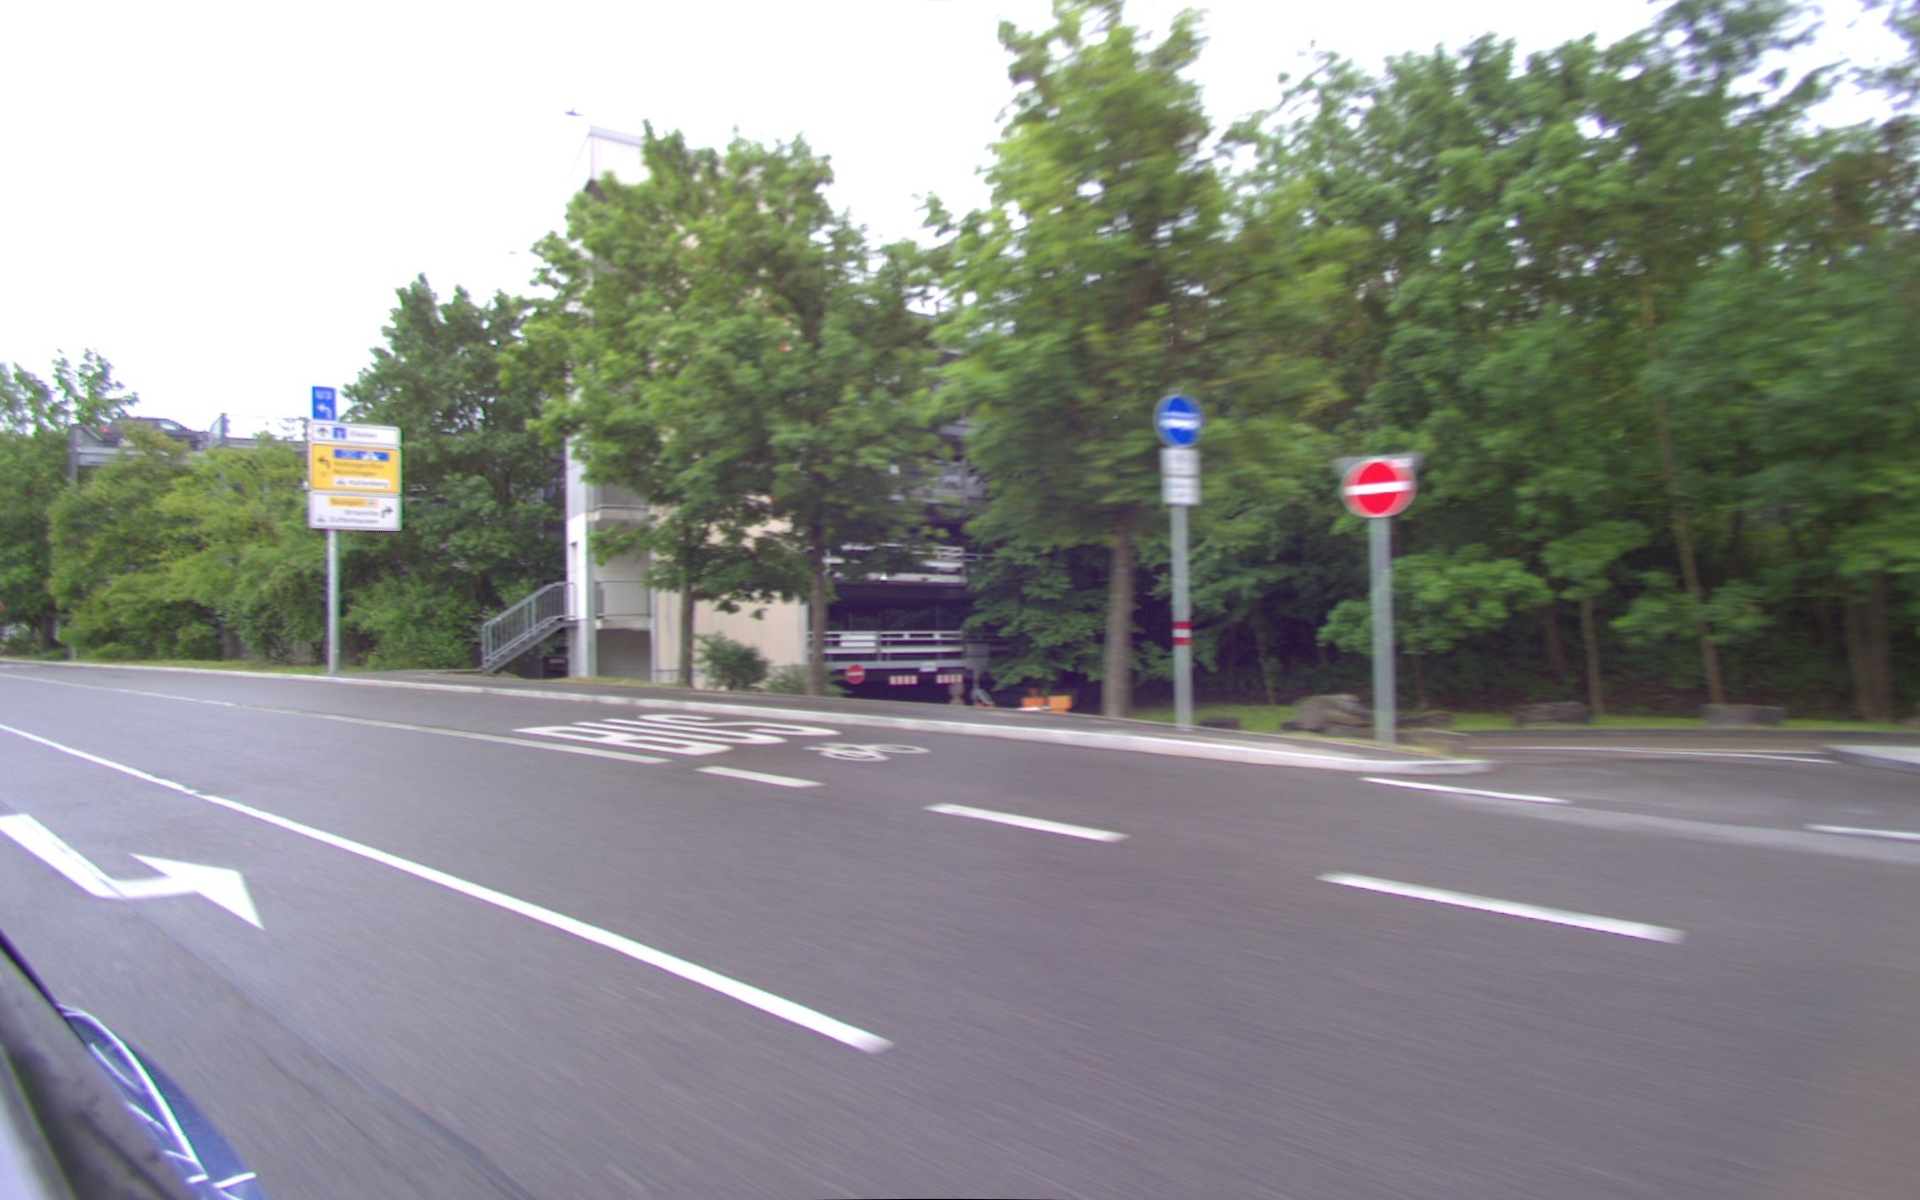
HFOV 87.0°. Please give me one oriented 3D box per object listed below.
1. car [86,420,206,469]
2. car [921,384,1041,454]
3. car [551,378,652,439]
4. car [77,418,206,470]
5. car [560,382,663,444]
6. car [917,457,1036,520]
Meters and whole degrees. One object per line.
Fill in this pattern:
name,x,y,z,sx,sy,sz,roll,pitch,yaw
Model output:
car,-37.441,-7.131,46.681,3.931,1.530,2.006,2,-3,-27
car,0.792,-6.617,37.371,3.932,1.785,2.006,1,-4,-32
car,-13.154,-6.968,37.149,3.190,1.530,1.590,2,-3,-34
car,-34.951,-6.638,43.379,3.931,1.530,2.006,2,-3,-27
car,-12.533,-6.683,36.429,3.190,1.530,1.590,2,-3,-34
car,0.611,-4.065,37.501,3.932,1.785,2.006,1,-4,-32
